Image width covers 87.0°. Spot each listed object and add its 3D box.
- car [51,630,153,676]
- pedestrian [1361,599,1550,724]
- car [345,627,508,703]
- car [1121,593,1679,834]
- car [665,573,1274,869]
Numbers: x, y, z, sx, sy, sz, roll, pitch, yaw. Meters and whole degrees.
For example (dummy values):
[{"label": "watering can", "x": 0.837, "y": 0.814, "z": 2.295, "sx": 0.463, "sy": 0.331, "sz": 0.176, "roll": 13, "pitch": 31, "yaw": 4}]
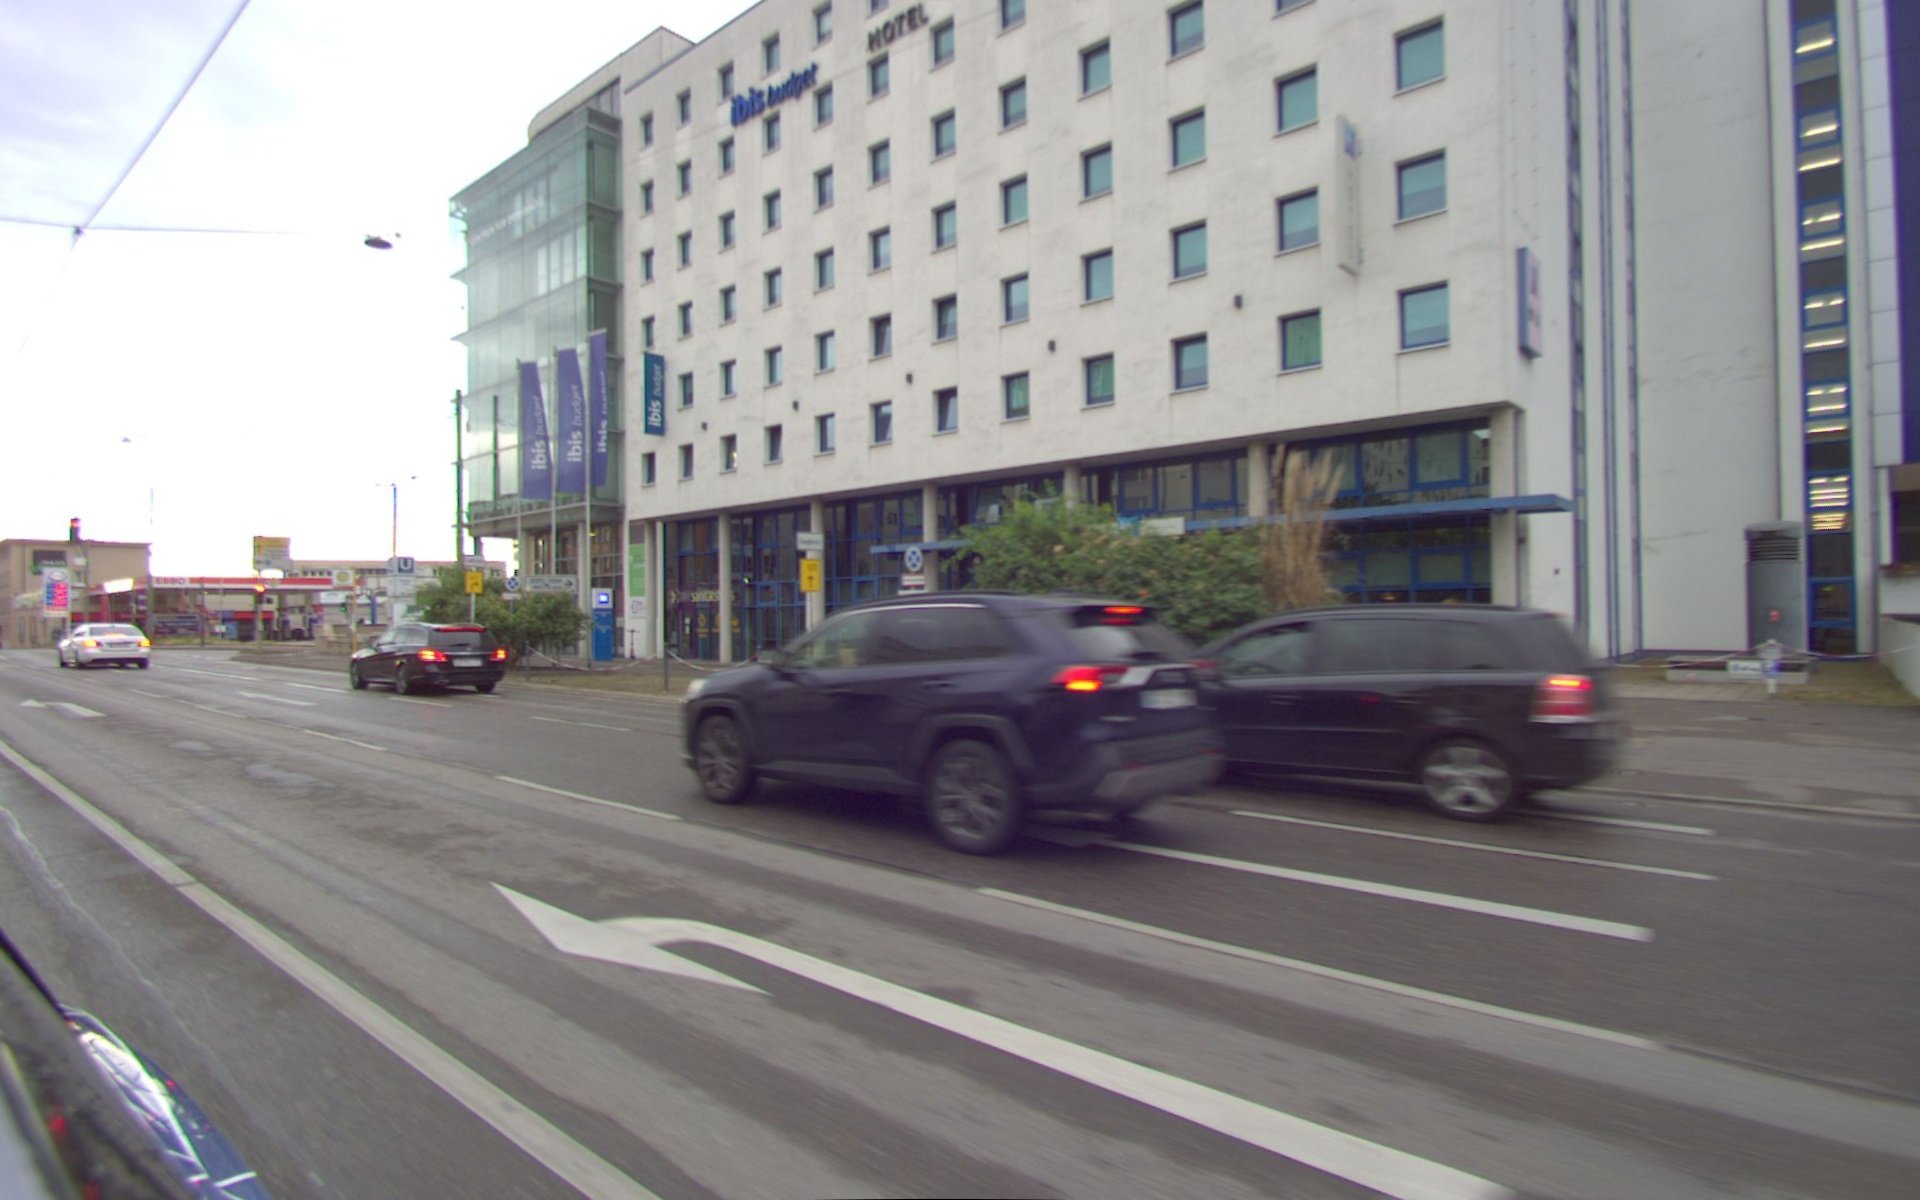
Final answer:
[{"label": "car", "x": -28.348, "y": 1.684, "z": 33.392, "sx": 4.960, "sy": 1.397, "sz": 1.798, "roll": -1, "pitch": -2, "yaw": 41}, {"label": "pedestrian", "x": 7.523, "y": 0.895, "z": 15.416, "sx": 1.966, "sy": 1.733, "sz": 1.700, "roll": -1, "pitch": -2, "yaw": -30}, {"label": "car", "x": -11.655, "y": 1.414, "z": 21.973, "sx": 4.700, "sy": 1.488, "sz": 1.714, "roll": -4, "pitch": -5, "yaw": 44}, {"label": "car", "x": 3.545, "y": 0.849, "z": 8.623, "sx": 4.032, "sy": 1.578, "sz": 1.690, "roll": -3, "pitch": -5, "yaw": 41}, {"label": "car", "x": -0.169, "y": 0.780, "z": 7.517, "sx": 4.447, "sy": 1.568, "sz": 1.738, "roll": -3, "pitch": -5, "yaw": 41}]
